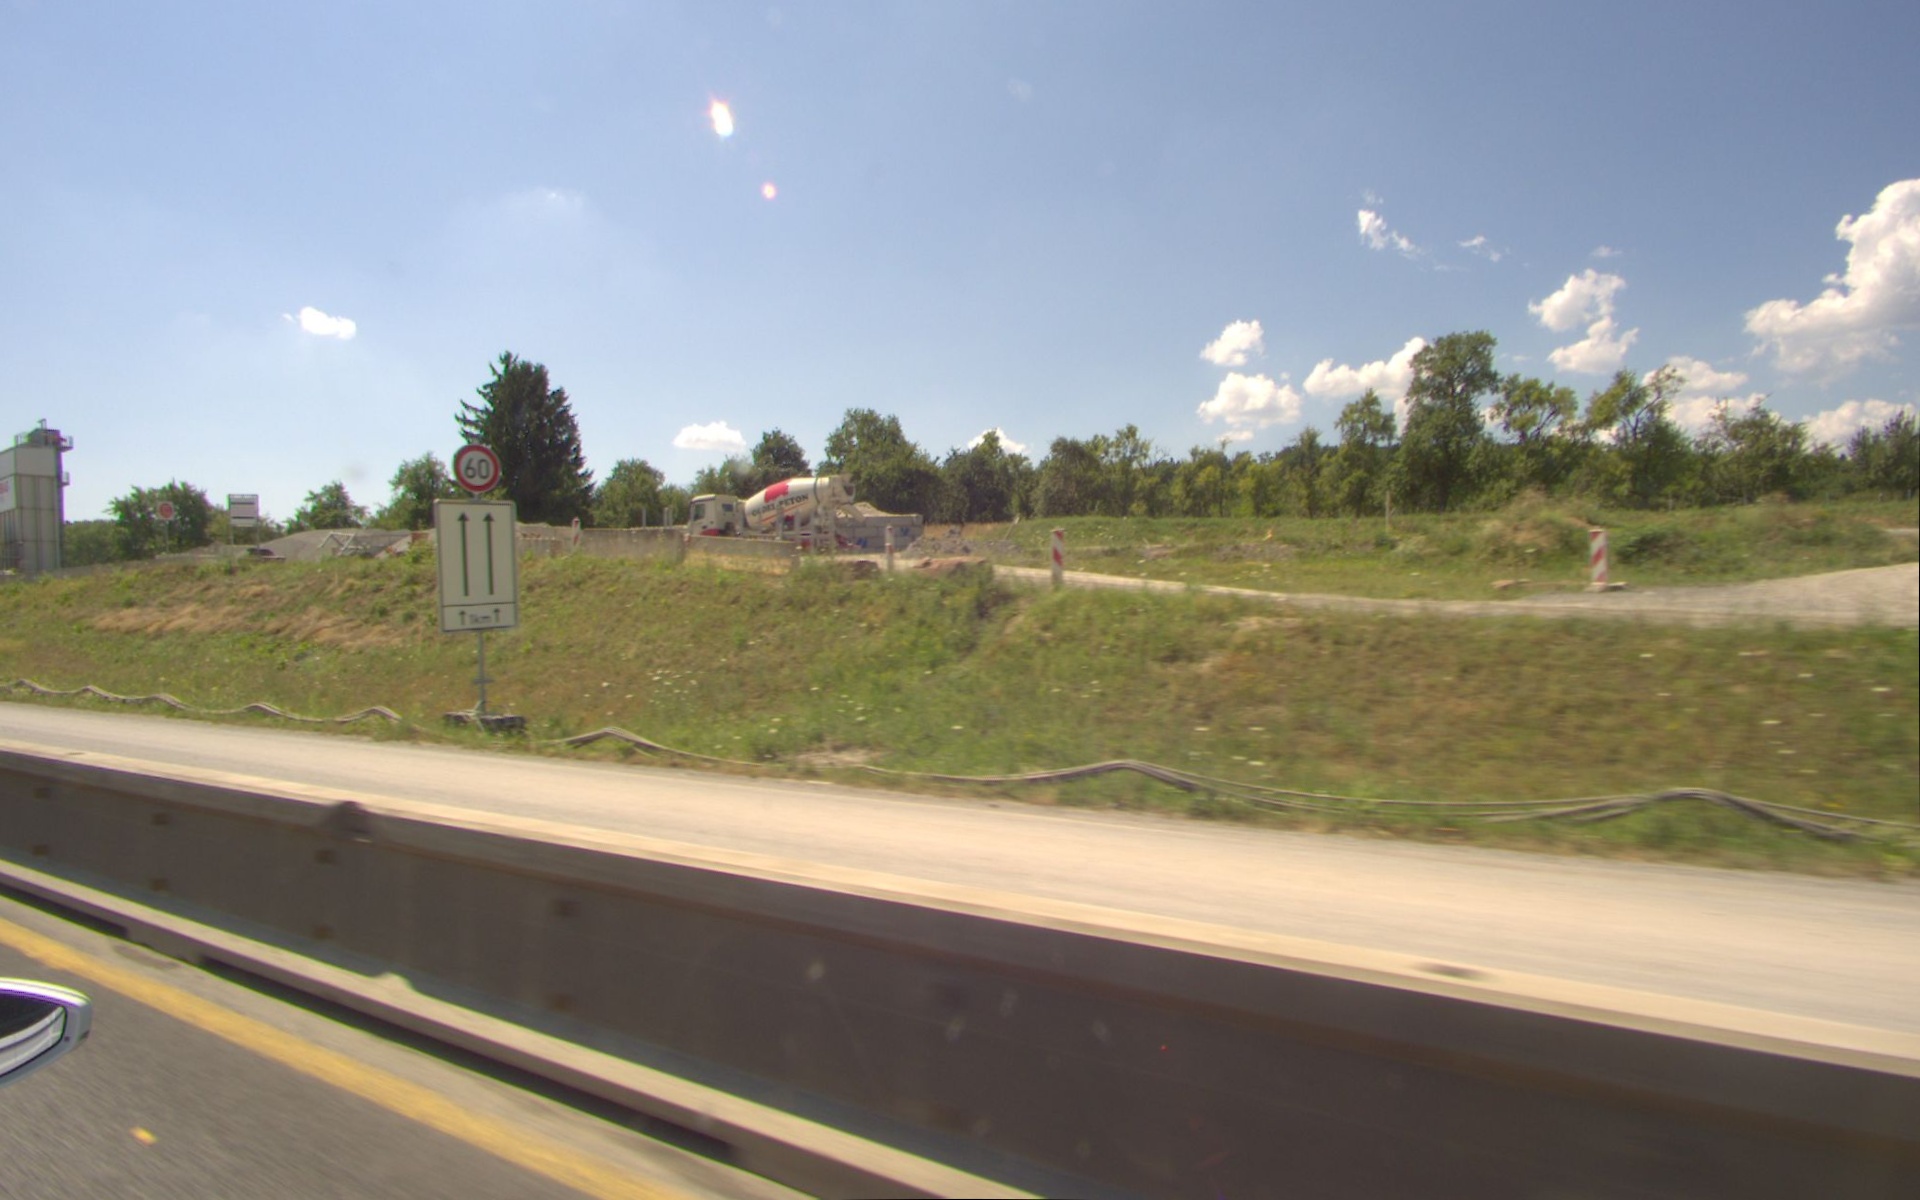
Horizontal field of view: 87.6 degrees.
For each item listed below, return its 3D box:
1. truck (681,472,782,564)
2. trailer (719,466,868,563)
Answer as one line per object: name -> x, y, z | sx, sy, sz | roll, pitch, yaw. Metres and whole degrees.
truck -> -11.274, -3.948, 49.522 | 4.031, 4.150, 2.746 | 0, 0, 23
trailer -> -7.997, -3.987, 48.129 | 6.632, 4.169, 2.757 | 0, 0, 23
